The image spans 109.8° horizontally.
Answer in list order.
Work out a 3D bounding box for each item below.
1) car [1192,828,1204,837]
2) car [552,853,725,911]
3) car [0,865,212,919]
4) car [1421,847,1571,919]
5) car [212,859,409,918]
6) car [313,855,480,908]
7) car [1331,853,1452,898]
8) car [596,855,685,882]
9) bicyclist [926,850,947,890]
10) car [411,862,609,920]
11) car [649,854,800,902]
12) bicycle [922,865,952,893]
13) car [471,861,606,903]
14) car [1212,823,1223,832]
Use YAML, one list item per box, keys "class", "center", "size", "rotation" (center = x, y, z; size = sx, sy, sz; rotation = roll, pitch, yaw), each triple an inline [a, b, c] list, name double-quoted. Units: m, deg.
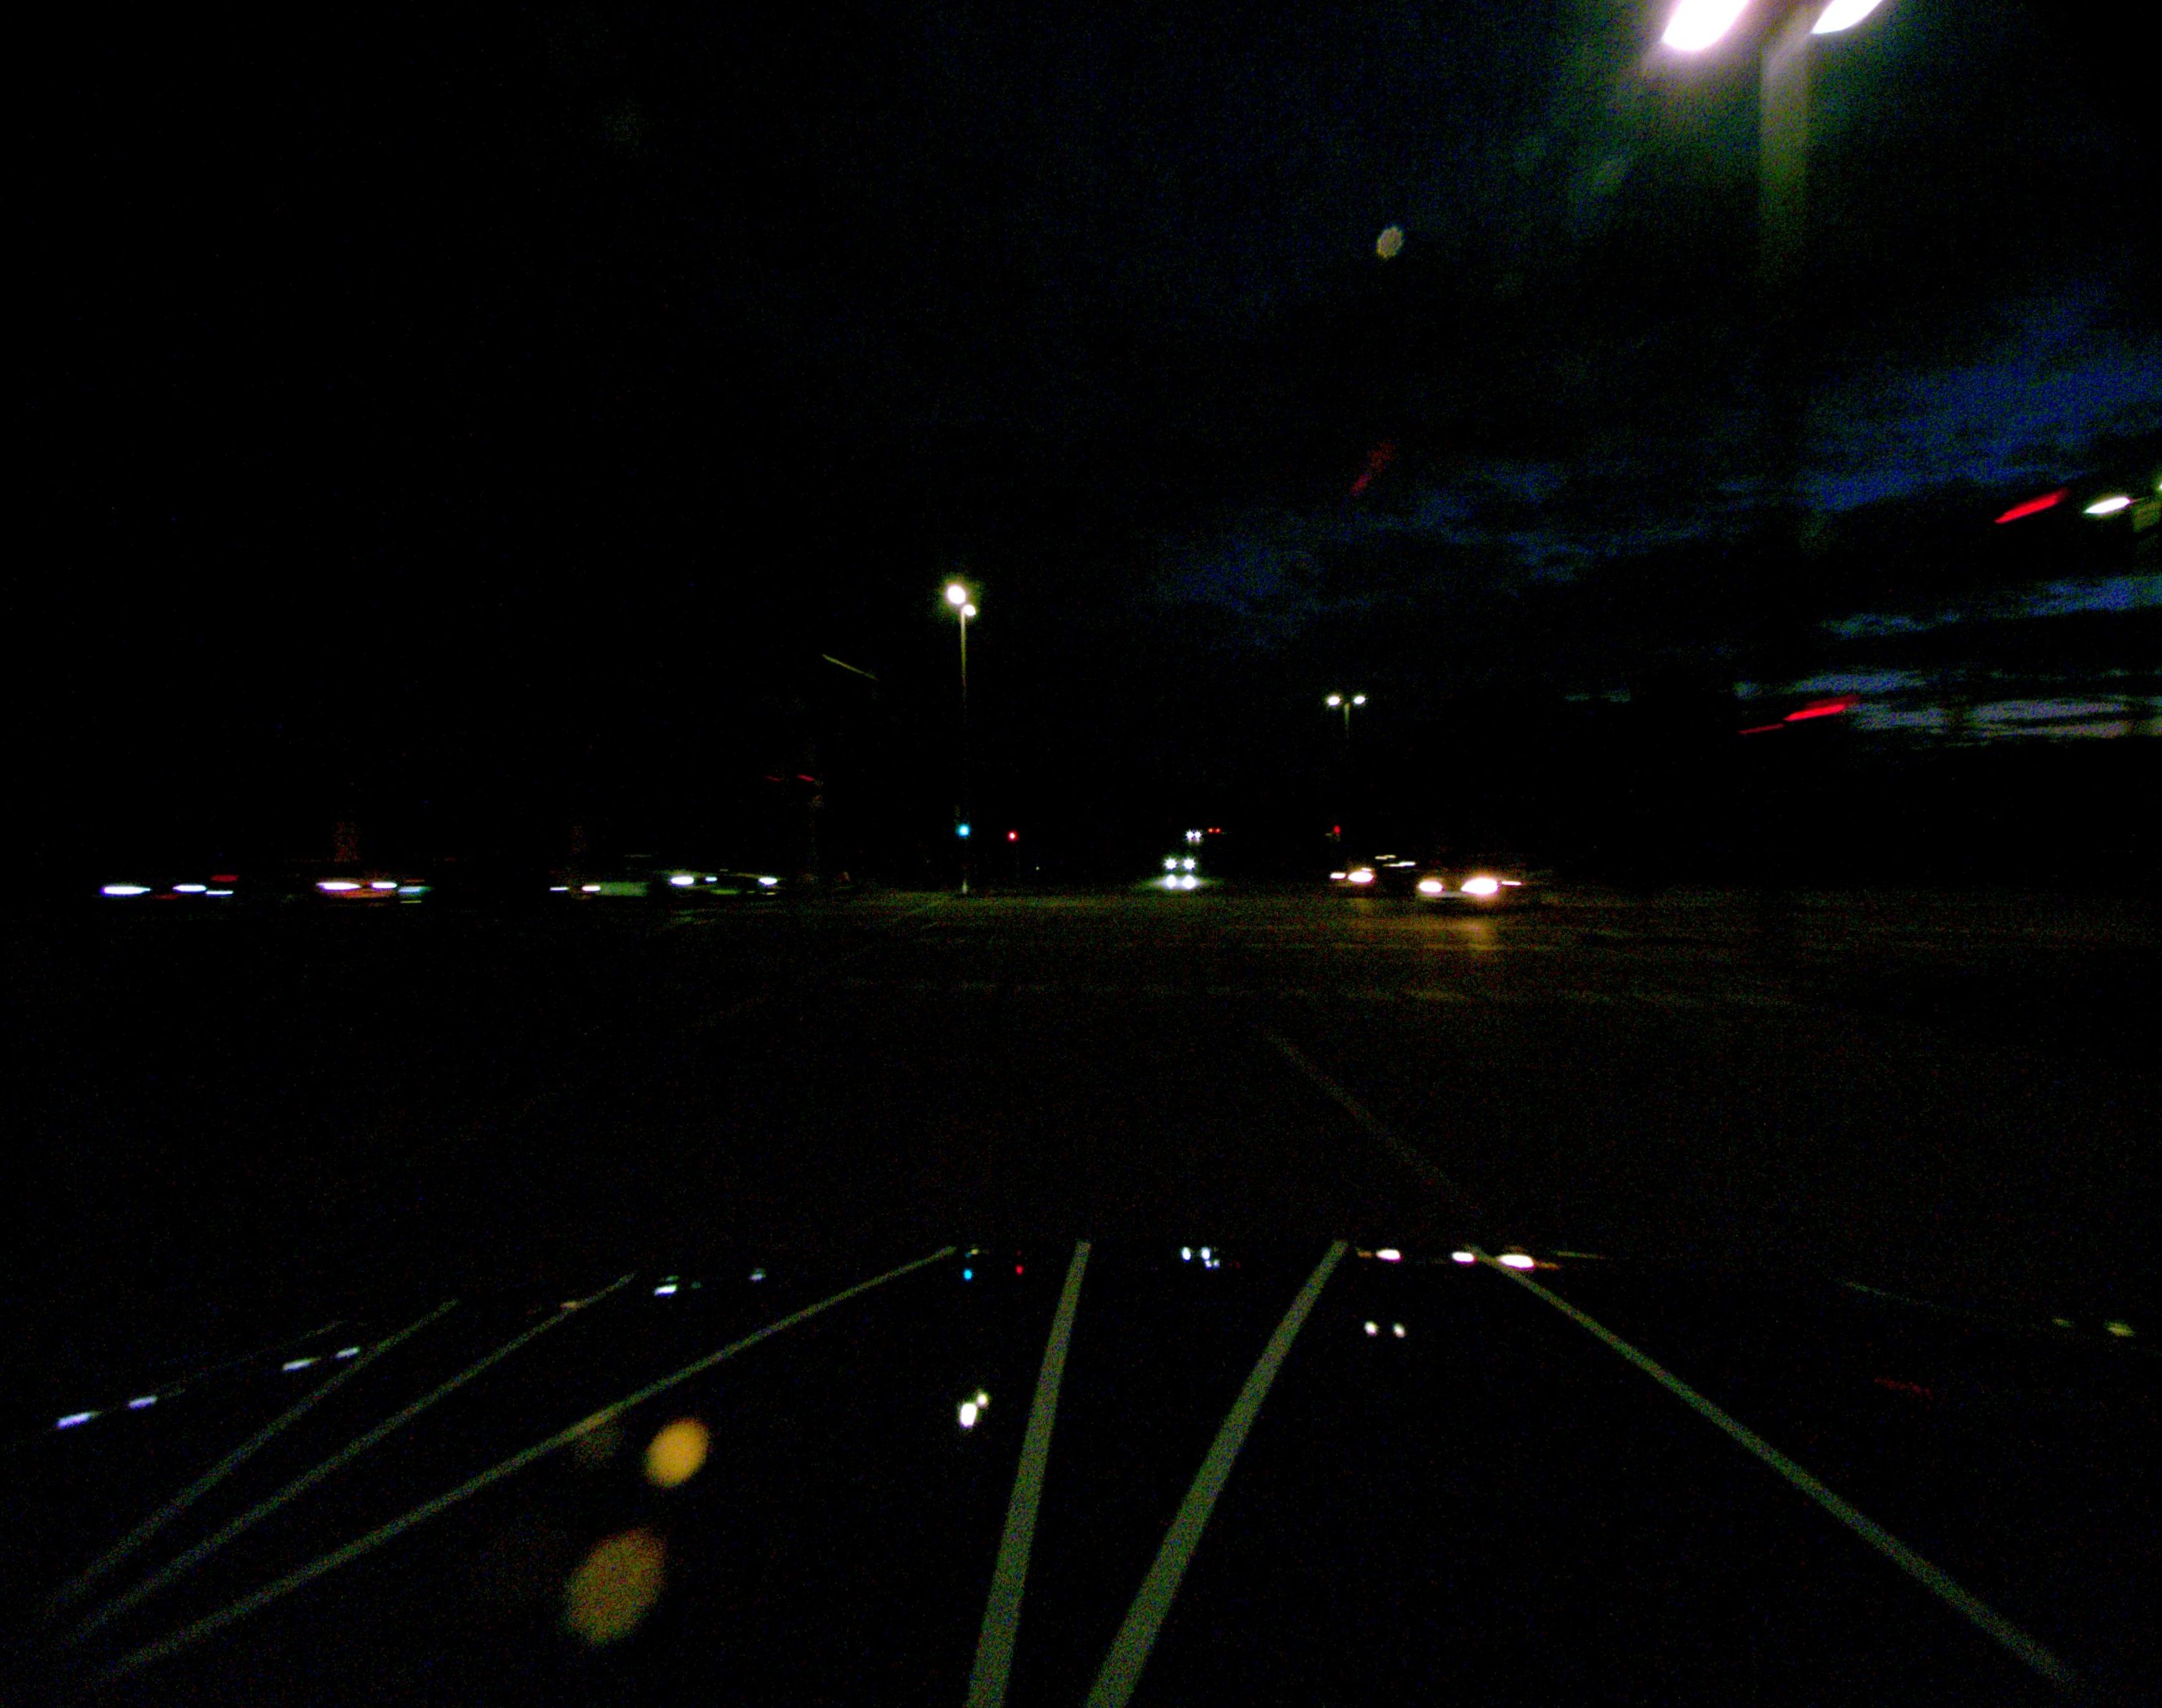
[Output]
- class: "car"
  center: [21.582, -3.969, 140.508]
  size: [1.696, 1.586, 3.930]
  rotation: [-1, -1, 15]
- class: "car"
  center: [-13.570, 0.824, 23.398]
  size: [4.413, 1.672, 1.916]
  rotation: [0, 0, 10]
- class: "car"
  center: [-27.931, 1.050, 21.819]
  size: [4.390, 1.382, 1.838]
  rotation: [0, 1, 9]
- class: "car"
  center: [10.586, 0.675, 19.270]
  size: [4.419, 1.643, 1.667]
  rotation: [0, -1, -37]
- class: "car"
  center: [-21.293, 0.920, 21.079]
  size: [3.994, 1.516, 1.838]
  rotation: [0, 1, 9]
- class: "car"
  center: [-22.384, 0.857, 24.901]
  size: [4.355, 1.617, 1.753]
  rotation: [0, 0, 10]
- class: "car"
  center: [10.990, 0.726, 26.953]
  size: [3.779, 1.472, 1.669]
  rotation: [-1, 0, -18]
- class: "car"
  center: [-24.685, 0.825, 42.645]
  size: [4.113, 1.435, 1.625]
  rotation: [-1, 1, 5]
- class: "bicyclist"
  center: [-6.005, 0.644, 31.589]
  size: [0.603, 1.641, 1.000]
  rotation: [-1, 1, 4]
- class: "car"
  center: [-15.117, 0.944, 20.210]
  size: [4.284, 1.437, 1.788]
  rotation: [0, 0, 11]
- class: "car"
  center: [-12.600, 0.813, 26.971]
  size: [4.578, 1.623, 1.859]
  rotation: [0, 0, 10]
- class: "bicycle"
  center: [-6.011, 1.013, 31.854]
  size: [0.694, 1.095, 2.069]
  rotation: [-1, 0, 4]
- class: "car"
  center: [-19.716, 0.985, 27.697]
  size: [3.903, 1.472, 1.780]
  rotation: [0, 0, 10]
- class: "car"
  center: [27.665, -5.343, 154.388]
  size: [1.738, 1.564, 4.058]
  rotation: [-2, 3, 4]
